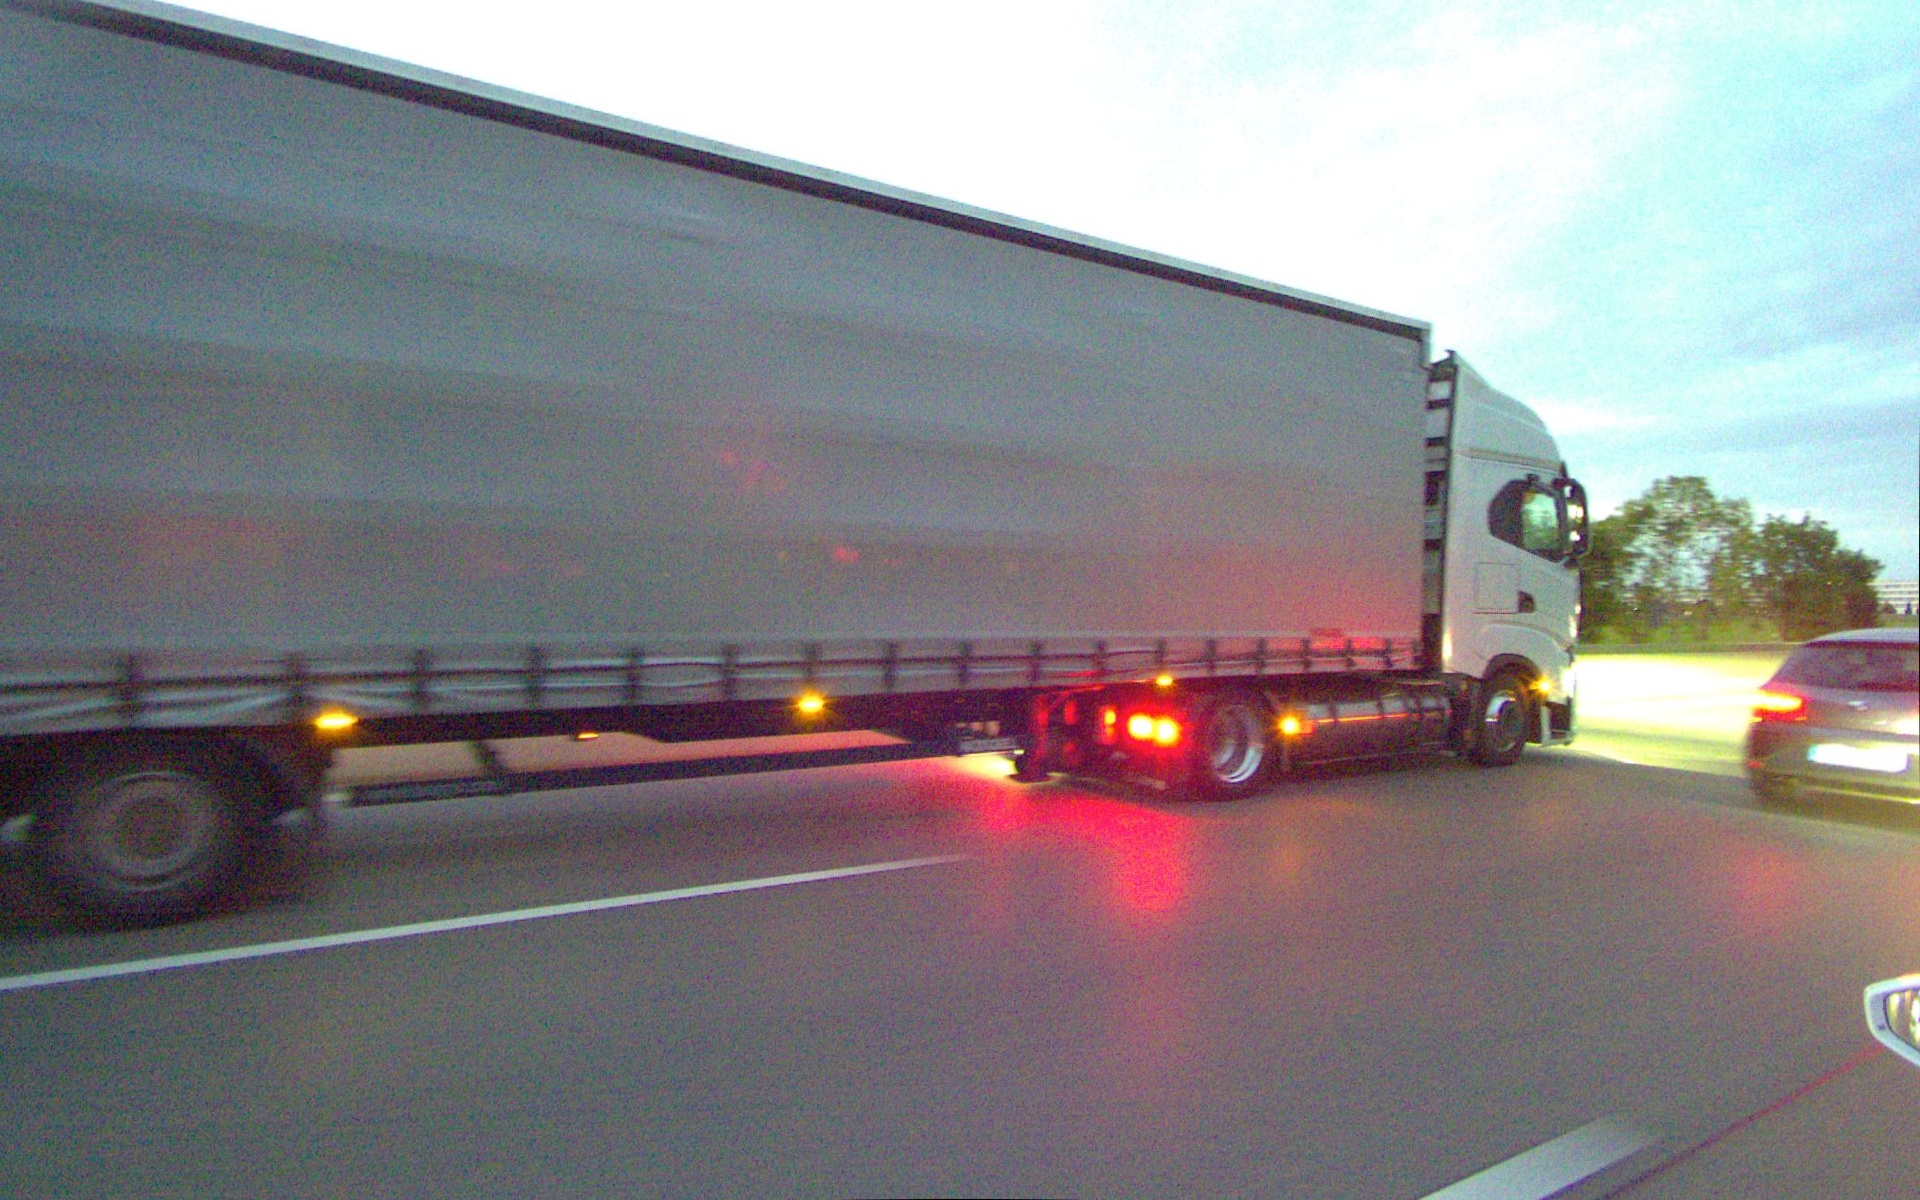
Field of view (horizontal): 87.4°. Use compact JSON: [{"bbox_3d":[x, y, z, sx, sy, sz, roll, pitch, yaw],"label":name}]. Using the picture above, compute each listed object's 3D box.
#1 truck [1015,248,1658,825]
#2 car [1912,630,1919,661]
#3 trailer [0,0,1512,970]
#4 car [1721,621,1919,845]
[{"bbox_3d":[3.838,-0.361,9.939,6.031,4.146,2.765,2,-1,-30],"label":"truck"},{"bbox_3d":[42.540,1.980,43.035,3.603,1.306,1.646,2,0,-31],"label":"car"},{"bbox_3d":[-1.991,-0.542,6.503,14.355,4.139,2.781,2,-1,-30],"label":"trailer"},{"bbox_3d":[8.384,0.986,8.305,4.672,1.491,1.714,2,0,-31],"label":"car"}]
